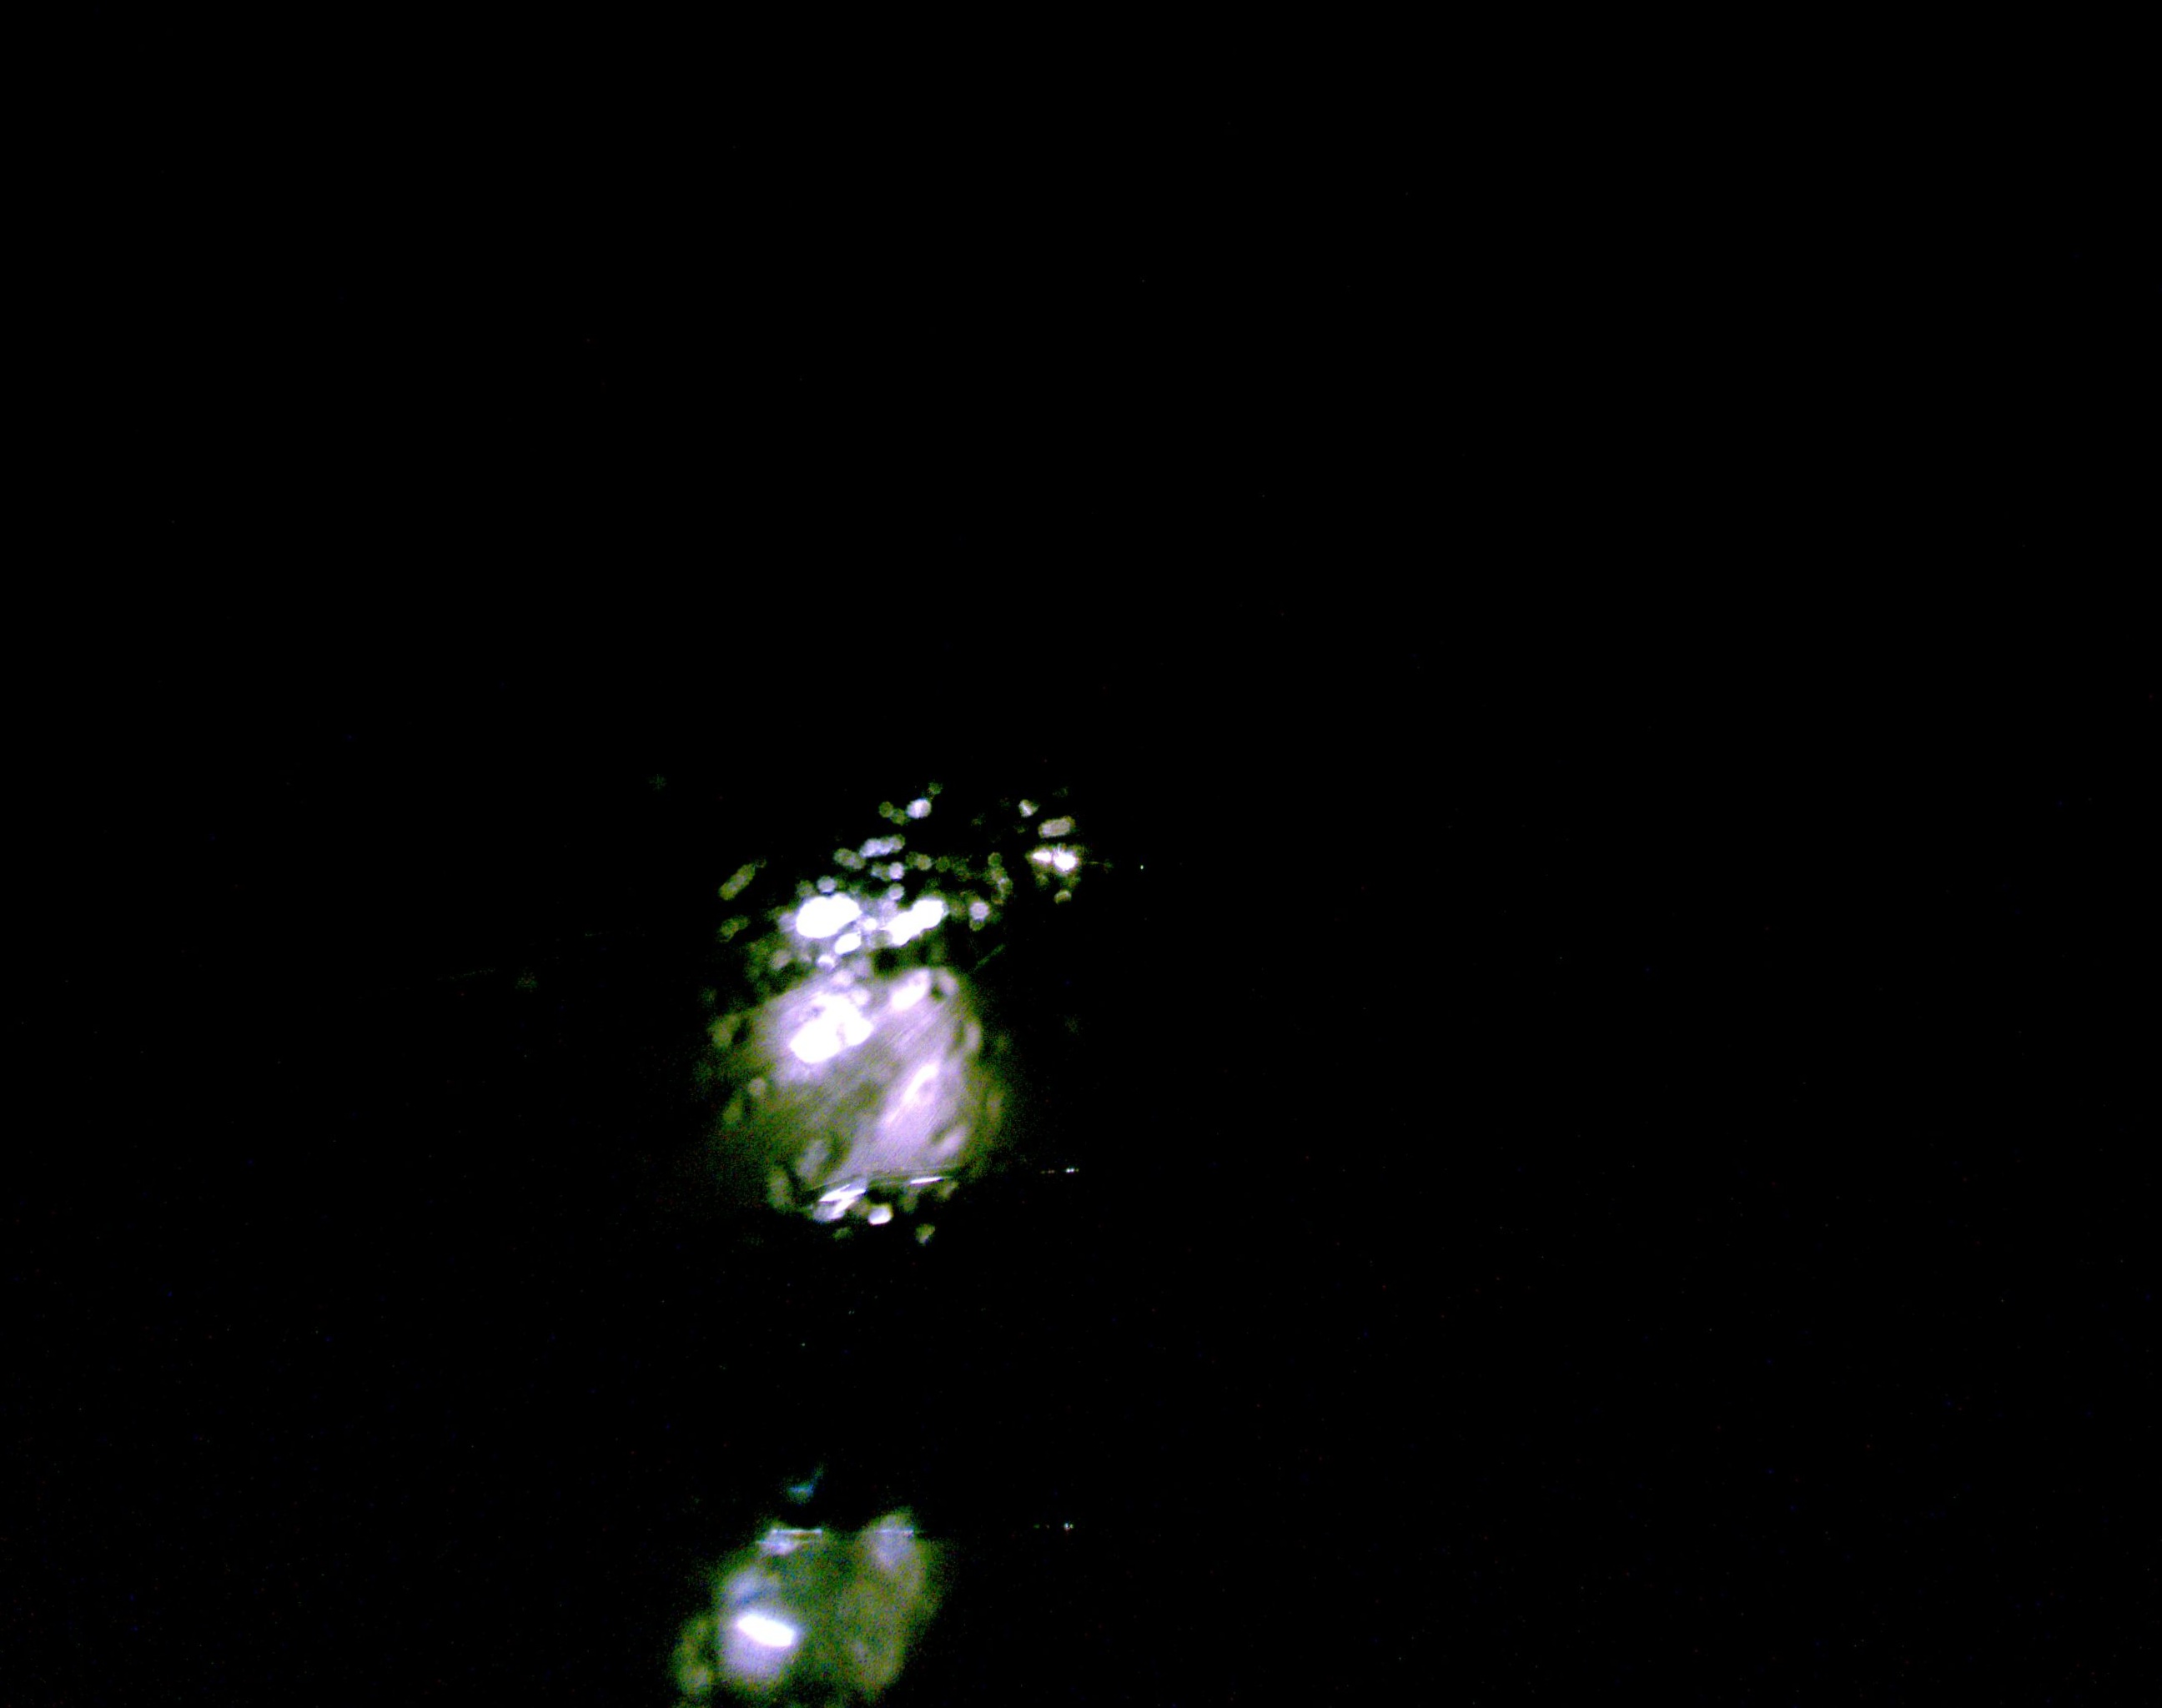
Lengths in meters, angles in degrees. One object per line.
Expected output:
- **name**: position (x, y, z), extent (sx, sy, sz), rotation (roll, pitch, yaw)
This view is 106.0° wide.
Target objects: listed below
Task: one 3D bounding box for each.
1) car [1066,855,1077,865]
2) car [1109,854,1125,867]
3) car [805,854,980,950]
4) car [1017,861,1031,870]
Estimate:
- **car**: position (-1.974, 1.253, 169.476), extent (1.986, 2.014, 4.001), rotation (0, 0, 1)
- **car**: position (4.602, 0.789, 103.337), extent (1.985, 1.618, 4.003), rotation (-1, 0, 3)
- **car**: position (-3.141, 0.740, 14.598), extent (1.986, 1.448, 4.431), rotation (0, 0, 2)
- **car**: position (-9.405, 1.918, 134.934), extent (1.986, 1.448, 4.431), rotation (0, 0, 2)
